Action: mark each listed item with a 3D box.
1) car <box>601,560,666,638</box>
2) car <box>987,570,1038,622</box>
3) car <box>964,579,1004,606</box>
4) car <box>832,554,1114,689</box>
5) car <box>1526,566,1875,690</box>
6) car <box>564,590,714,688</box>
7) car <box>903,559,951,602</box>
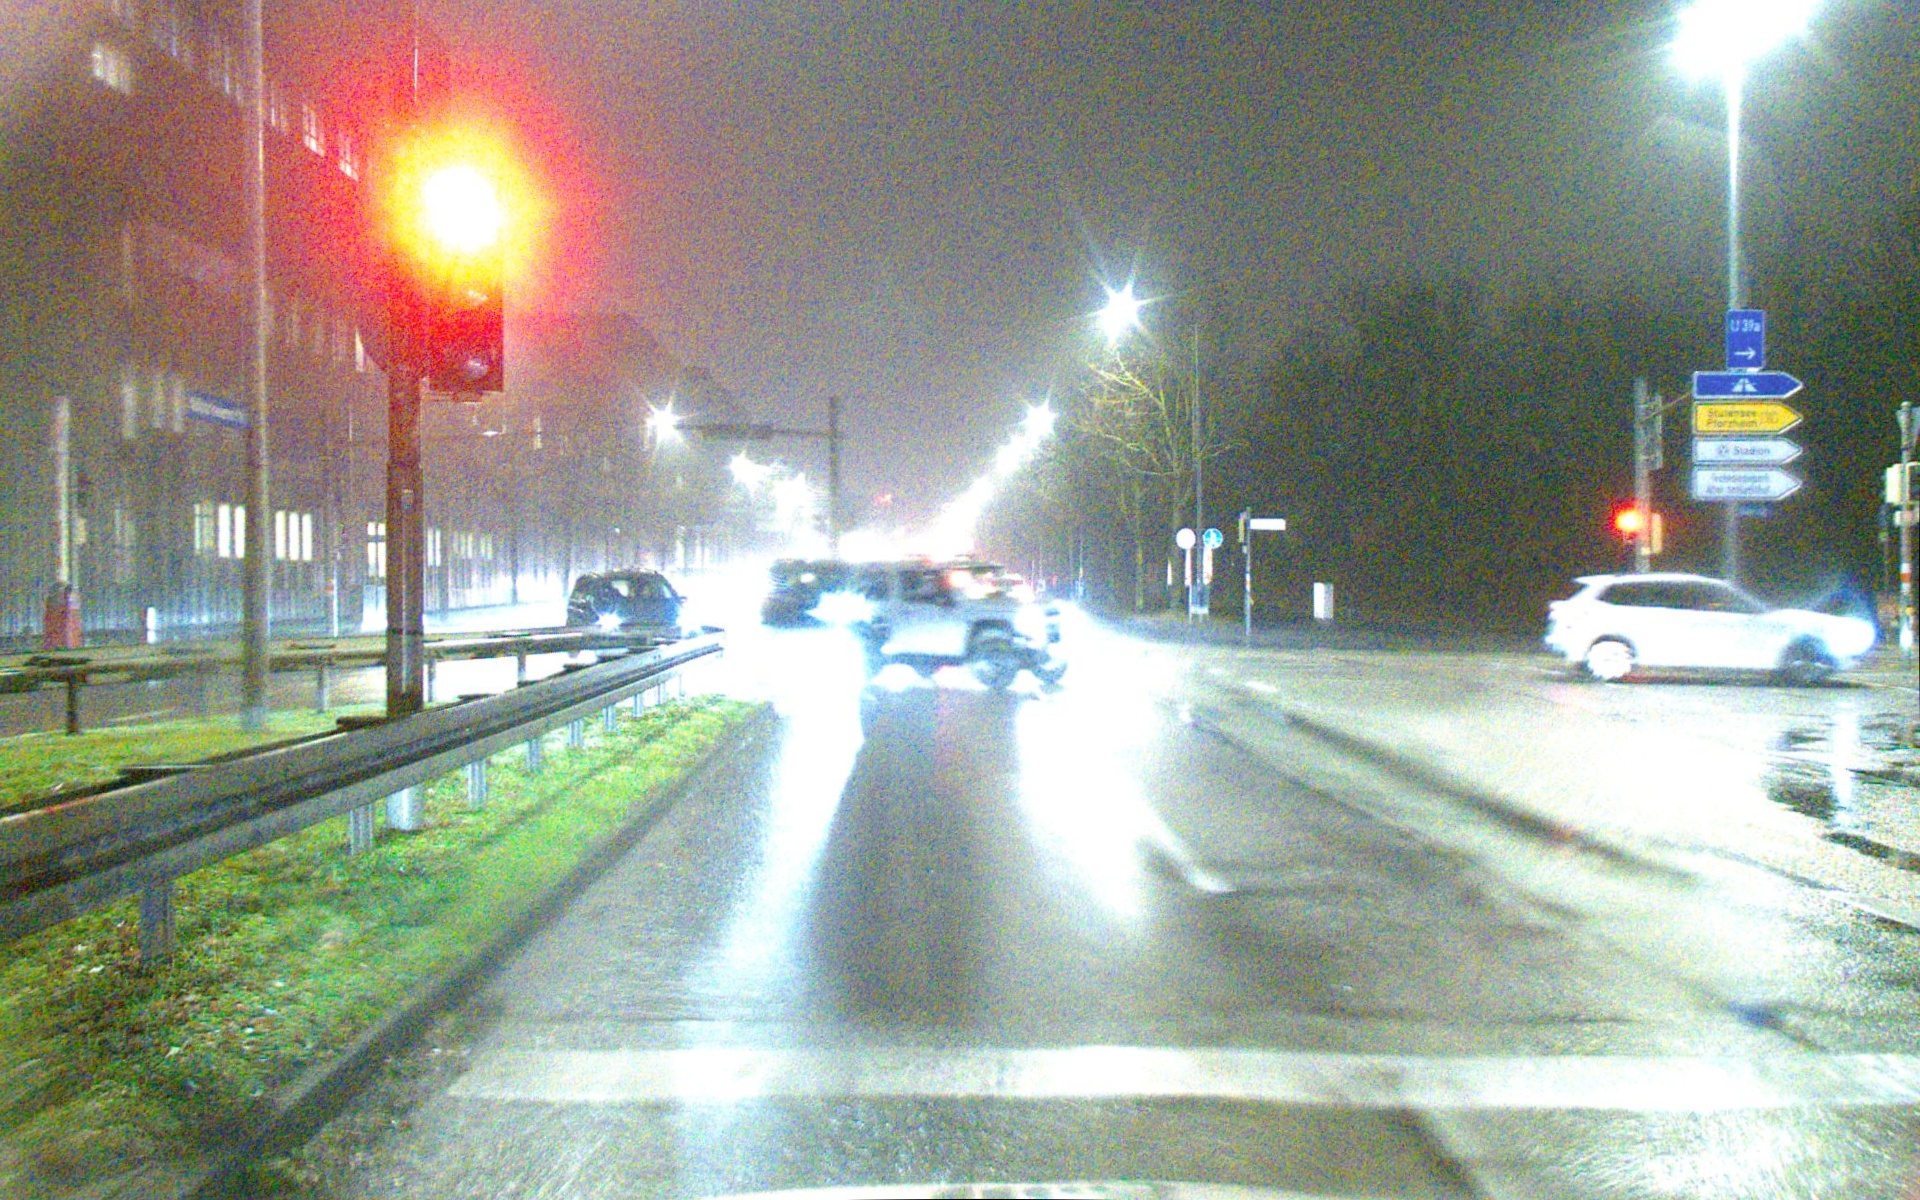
[{"bbox_3d":[-9.014,-0.020,45.691,1.668,2.049,3.557,0,0,-11],"label":"car"},{"bbox_3d":[2.150,-0.165,67.869,1.996,2.049,4.307,0,0,1],"label":"car"},{"bbox_3d":[1.378,-0.424,97.854,2.050,1.572,4.303,0,0,-4],"label":"car"},{"bbox_3d":[0.149,0.284,23.302,3.689,1.764,1.716,0,0,36],"label":"car"},{"bbox_3d":[10.612,0.374,24.021,4.353,1.700,1.842,0,0,13],"label":"car"},{"bbox_3d":[-6.116,0.690,31.090,1.926,1.702,4.386,0,0,-23],"label":"car"},{"bbox_3d":[-1.805,-1.023,89.189,2.393,2.232,5.075,0,0,-4],"label":"car"}]
